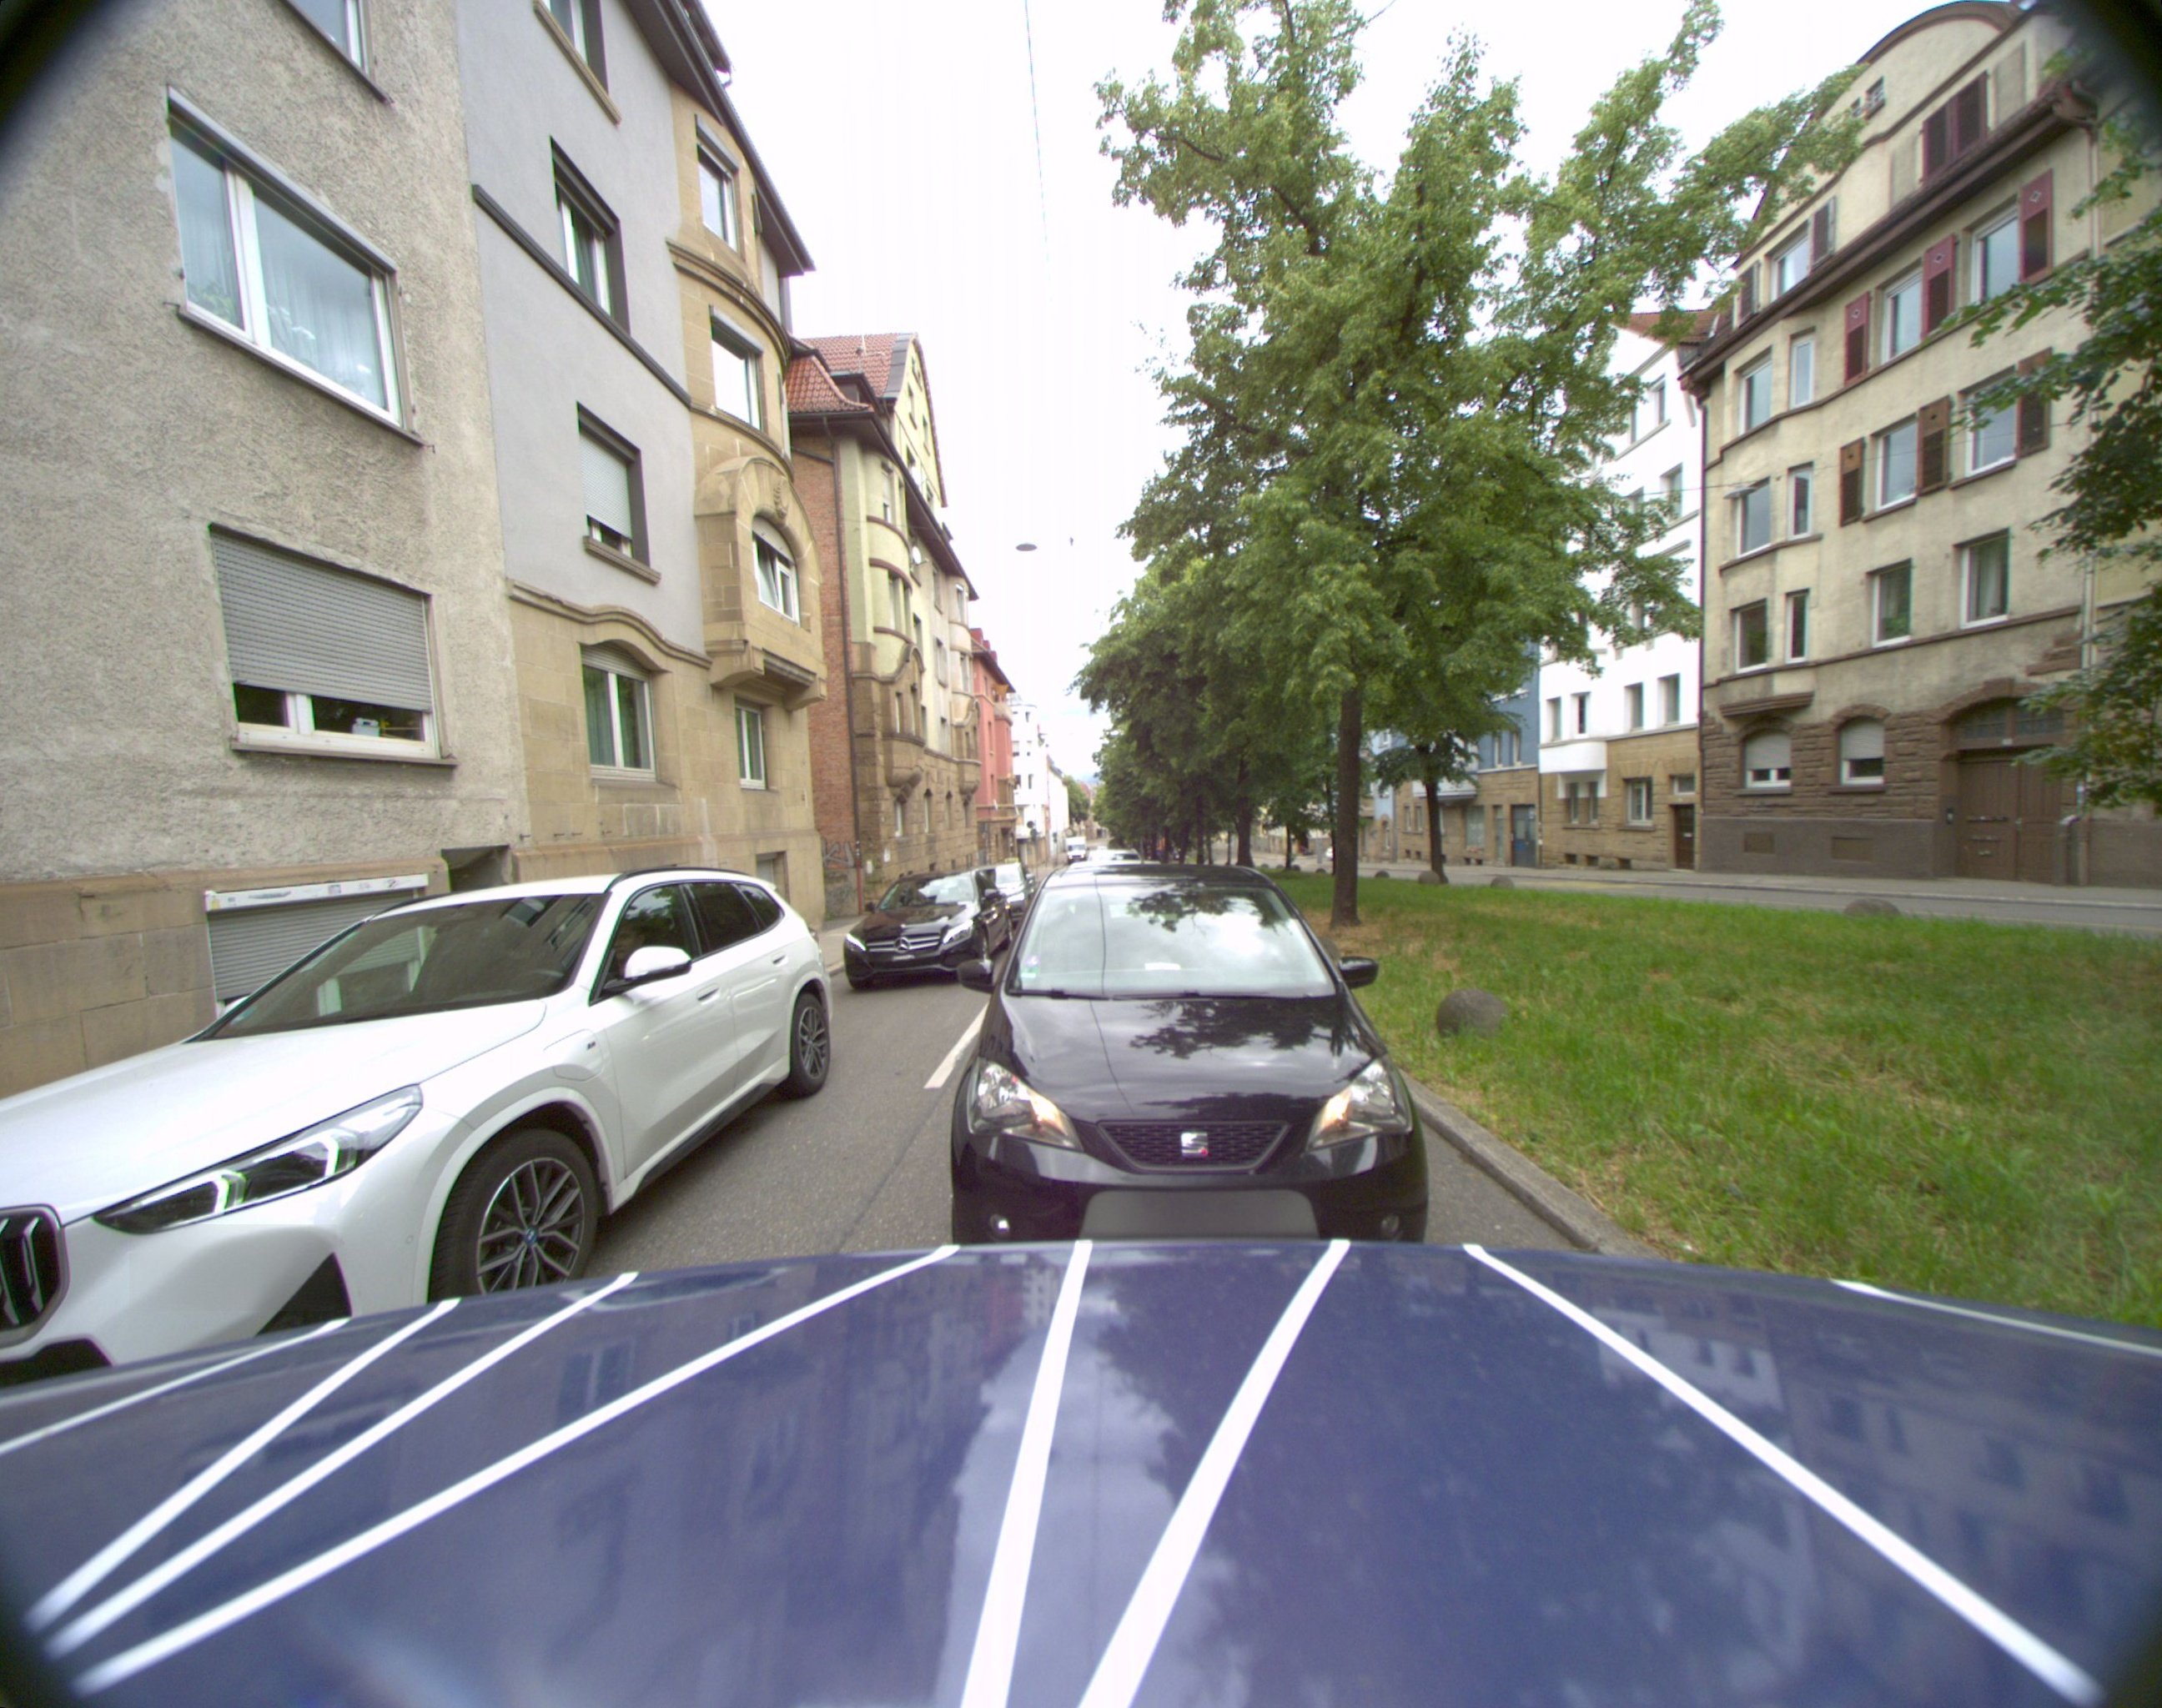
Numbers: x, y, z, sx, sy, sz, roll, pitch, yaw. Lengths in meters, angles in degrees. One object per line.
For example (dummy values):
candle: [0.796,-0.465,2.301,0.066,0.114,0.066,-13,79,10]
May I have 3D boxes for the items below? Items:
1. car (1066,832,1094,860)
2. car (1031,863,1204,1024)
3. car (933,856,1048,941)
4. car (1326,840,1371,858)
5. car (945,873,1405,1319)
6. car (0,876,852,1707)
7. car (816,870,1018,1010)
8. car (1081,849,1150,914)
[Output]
car: [-0.086,-0.873,82.362,2.716,2.879,6.453,-2,1,1]
car: [0.387,0.917,9.338,1.664,1.456,3.580,-2,1,1]
car: [-1.972,0.941,17.927,1.936,1.506,4.303,-6,1,2]
car: [22.178,-0.436,63.115,3.291,1.323,1.672,-2,1,10]
car: [0.352,0.900,4.325,1.611,1.457,3.296,0,1,1]
car: [-2.809,1.071,3.750,1.859,1.547,4.350,-6,1,0]
car: [-2.142,1.074,11.207,1.884,1.369,4.205,-6,1,1]
car: [0.866,0.654,20.234,1.607,1.492,3.737,-2,1,1]
